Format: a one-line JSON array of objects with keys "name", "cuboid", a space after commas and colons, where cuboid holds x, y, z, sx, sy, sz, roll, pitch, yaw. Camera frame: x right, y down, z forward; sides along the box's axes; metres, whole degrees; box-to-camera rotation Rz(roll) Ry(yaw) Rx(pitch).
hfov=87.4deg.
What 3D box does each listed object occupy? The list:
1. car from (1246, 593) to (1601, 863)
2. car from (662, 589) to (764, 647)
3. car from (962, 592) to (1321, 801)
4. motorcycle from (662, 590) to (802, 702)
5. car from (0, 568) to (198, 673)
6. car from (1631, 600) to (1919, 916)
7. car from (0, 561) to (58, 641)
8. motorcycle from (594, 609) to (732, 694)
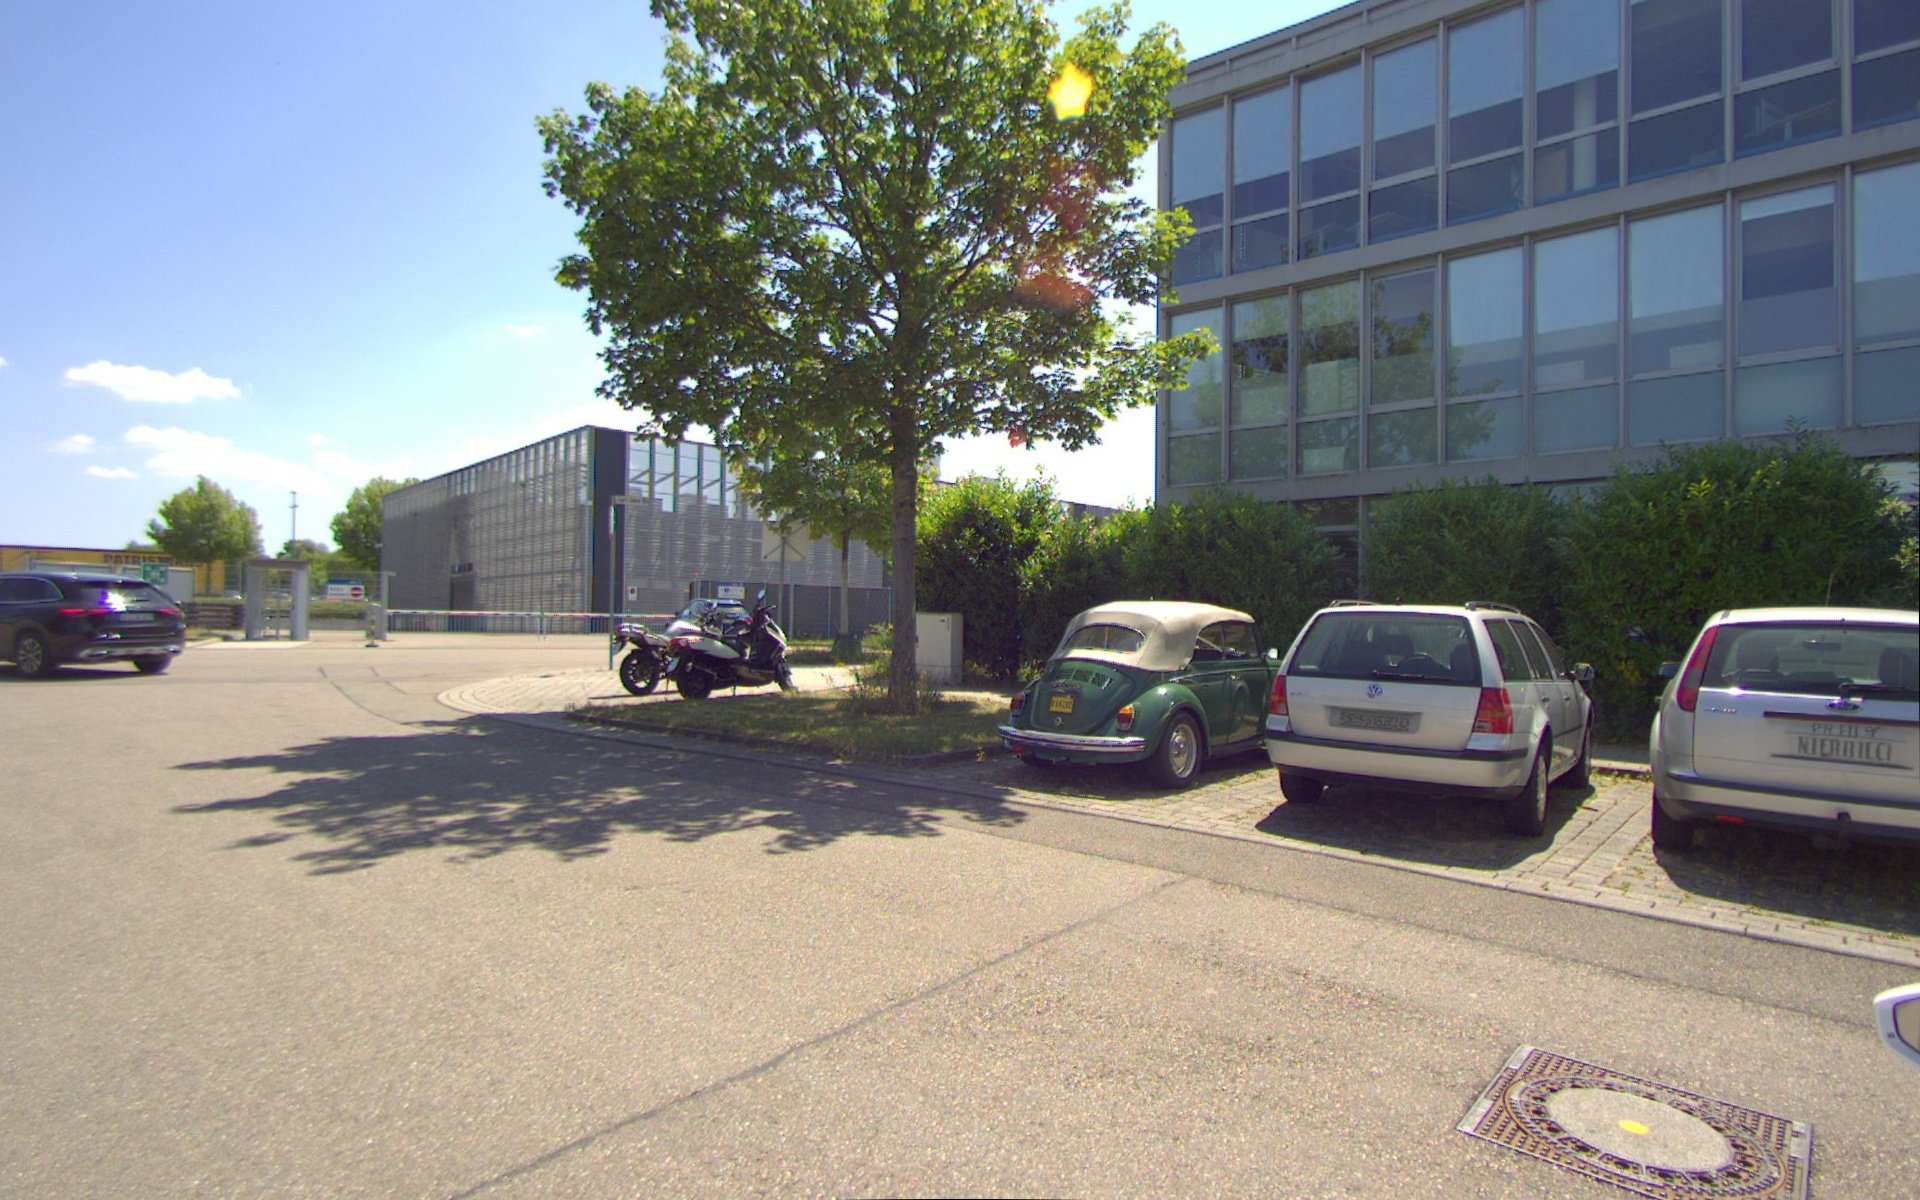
[{"name": "car", "cuboid": [3.733, 0.759, 7.692, 1.626, 1.499, 3.876, 1, 0, 38]}, {"name": "car", "cuboid": [-7.579, 0.512, 30.594, 1.977, 1.616, 3.967, 1, 0, -30]}, {"name": "car", "cuboid": [1.851, 0.725, 9.214, 1.626, 1.468, 3.876, 1, 0, 38]}, {"name": "motorcycle", "cuboid": [-3.054, 0.593, 13.644, 0.477, 1.408, 1.982, 2, 0, 37]}, {"name": "car", "cuboid": [-14.979, 0.287, 16.524, 4.175, 1.534, 1.959, 1, 0, 21]}, {"name": "car", "cuboid": [5.804, 0.816, 6.696, 1.699, 1.499, 4.327, 1, 0, 40]}, {"name": "car", "cuboid": [-22.438, -0.015, 23.443, 1.757, 1.761, 3.956, 2, 0, -38]}, {"name": "motorcycle", "cuboid": [-4.222, 0.704, 14.422, 0.477, 1.123, 1.982, 2, 0, 37]}]
